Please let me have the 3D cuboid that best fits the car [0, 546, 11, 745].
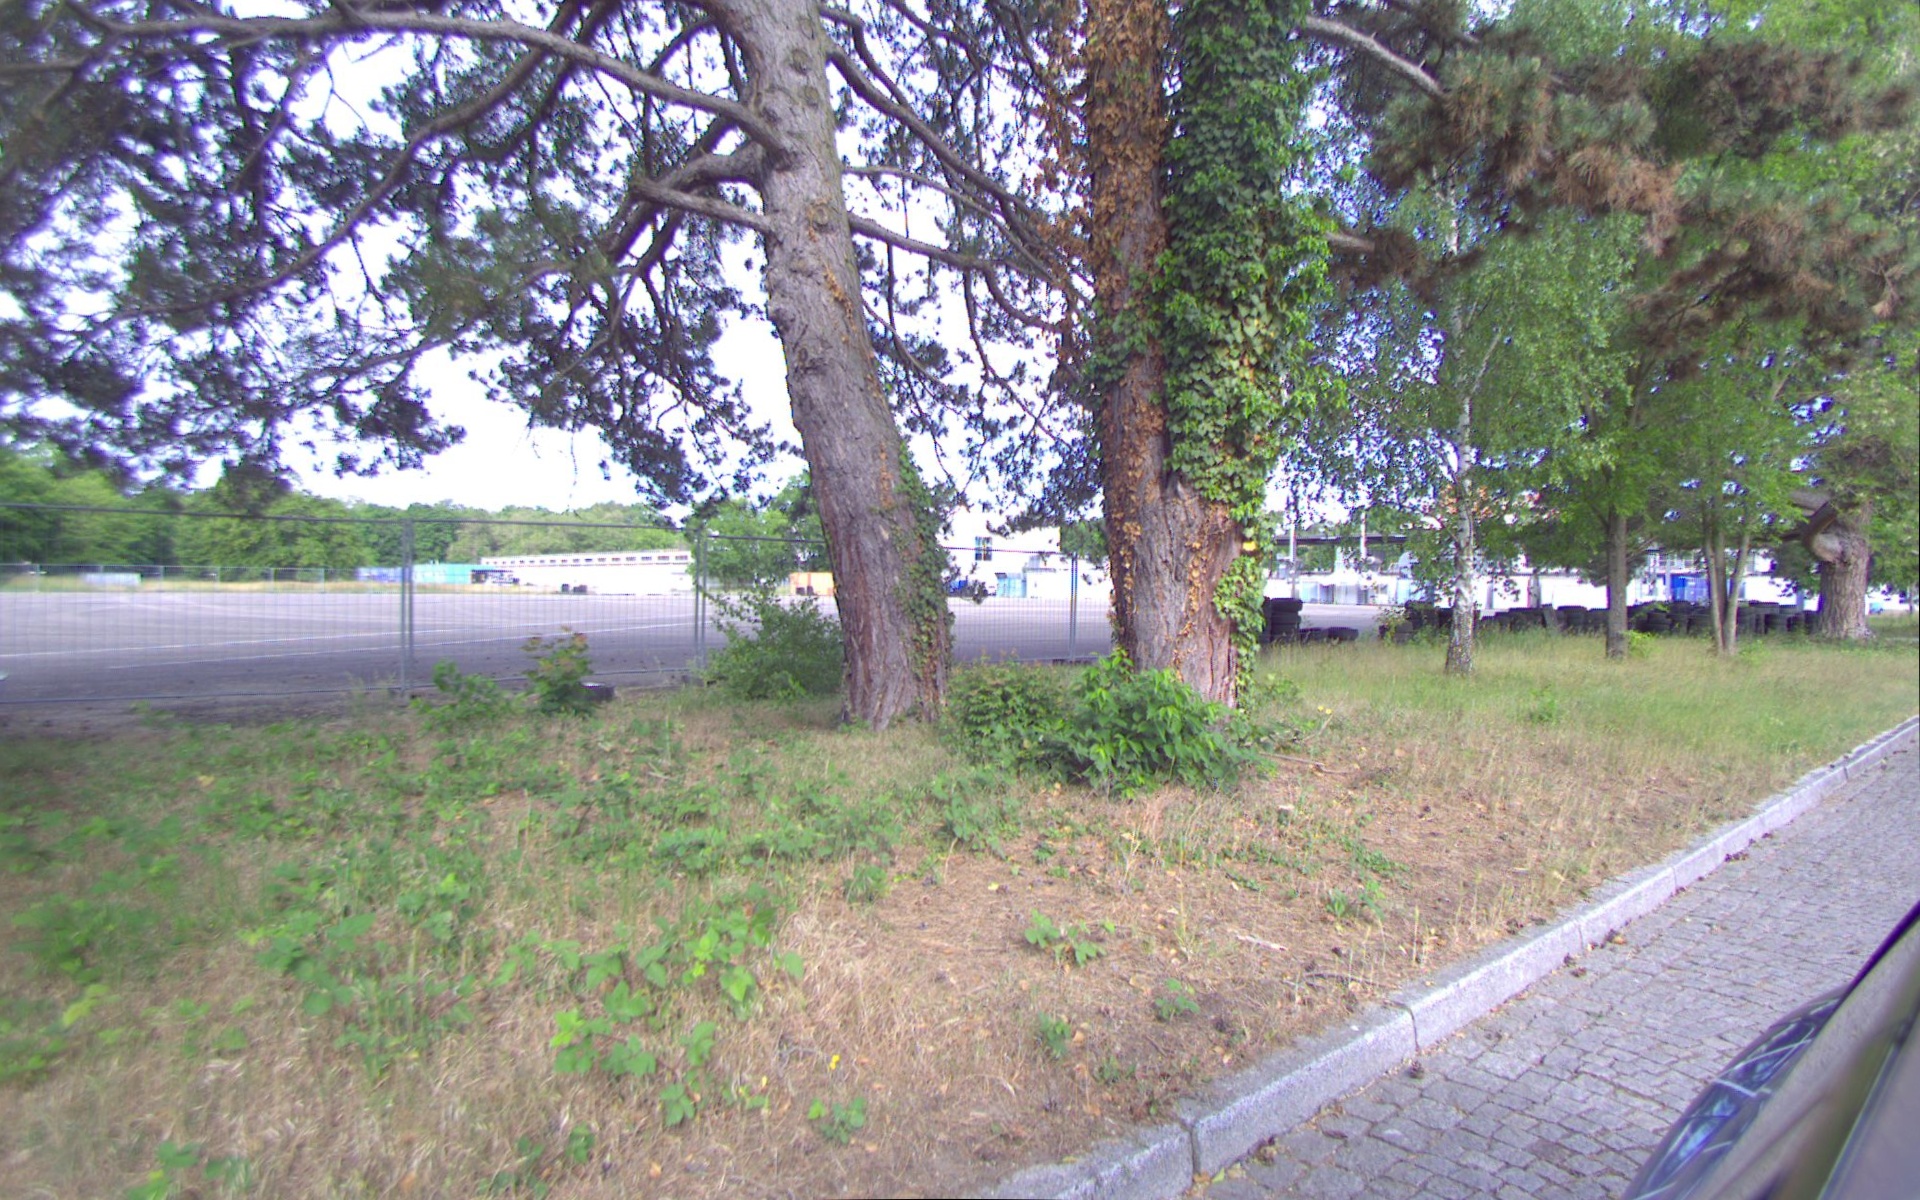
[{"bbox_3d":[-8.929,0.357,6.548,4.003,1.445,1.648,0,-2,-42],"label":"car"}]
